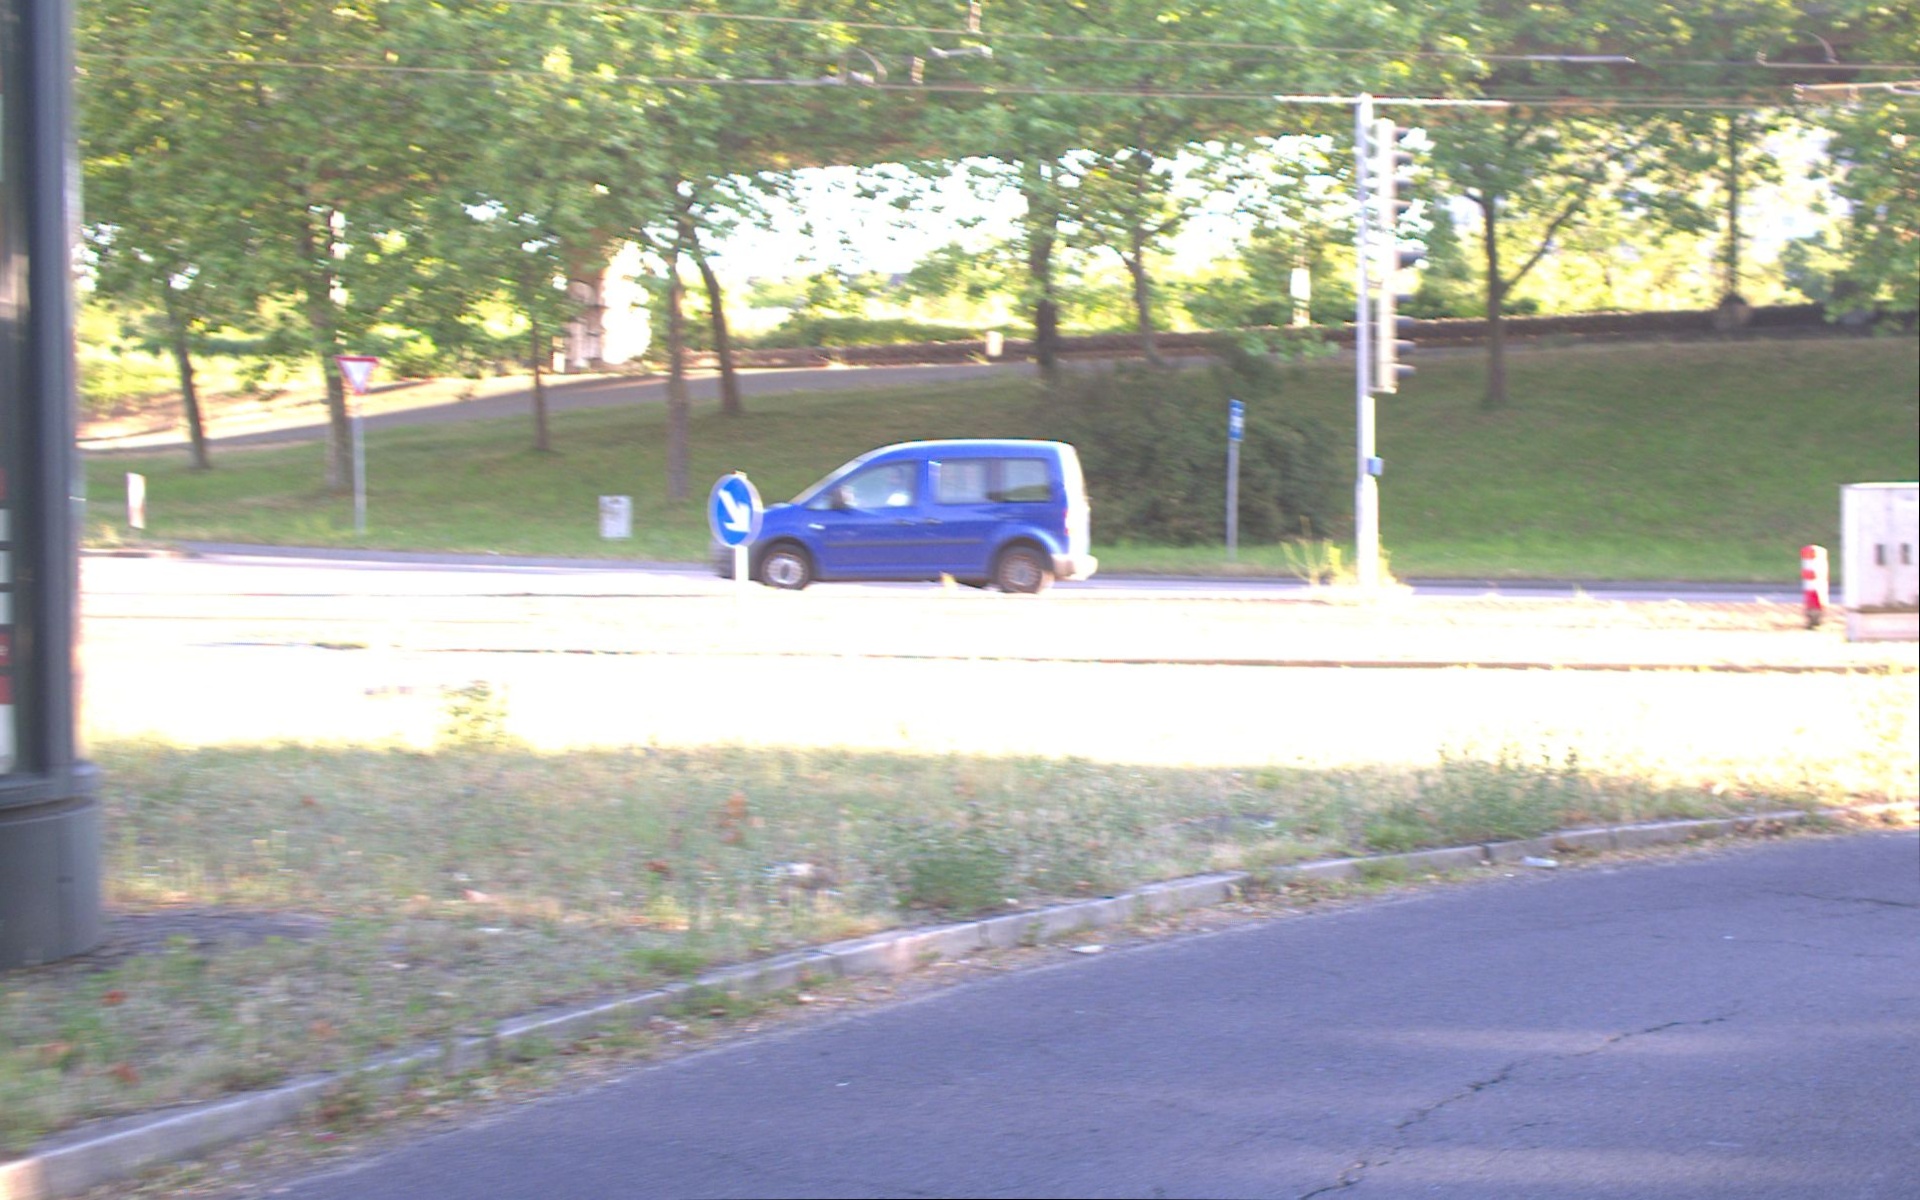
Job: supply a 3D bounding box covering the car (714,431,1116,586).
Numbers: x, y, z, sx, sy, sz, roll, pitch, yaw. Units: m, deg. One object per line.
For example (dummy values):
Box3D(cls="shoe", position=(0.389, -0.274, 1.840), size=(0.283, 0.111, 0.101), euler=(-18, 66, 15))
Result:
Box3D(cls="car", position=(-0.532, -1.067, 39.806), size=(4.503, 1.686, 2.000), euler=(1, 2, -1))
